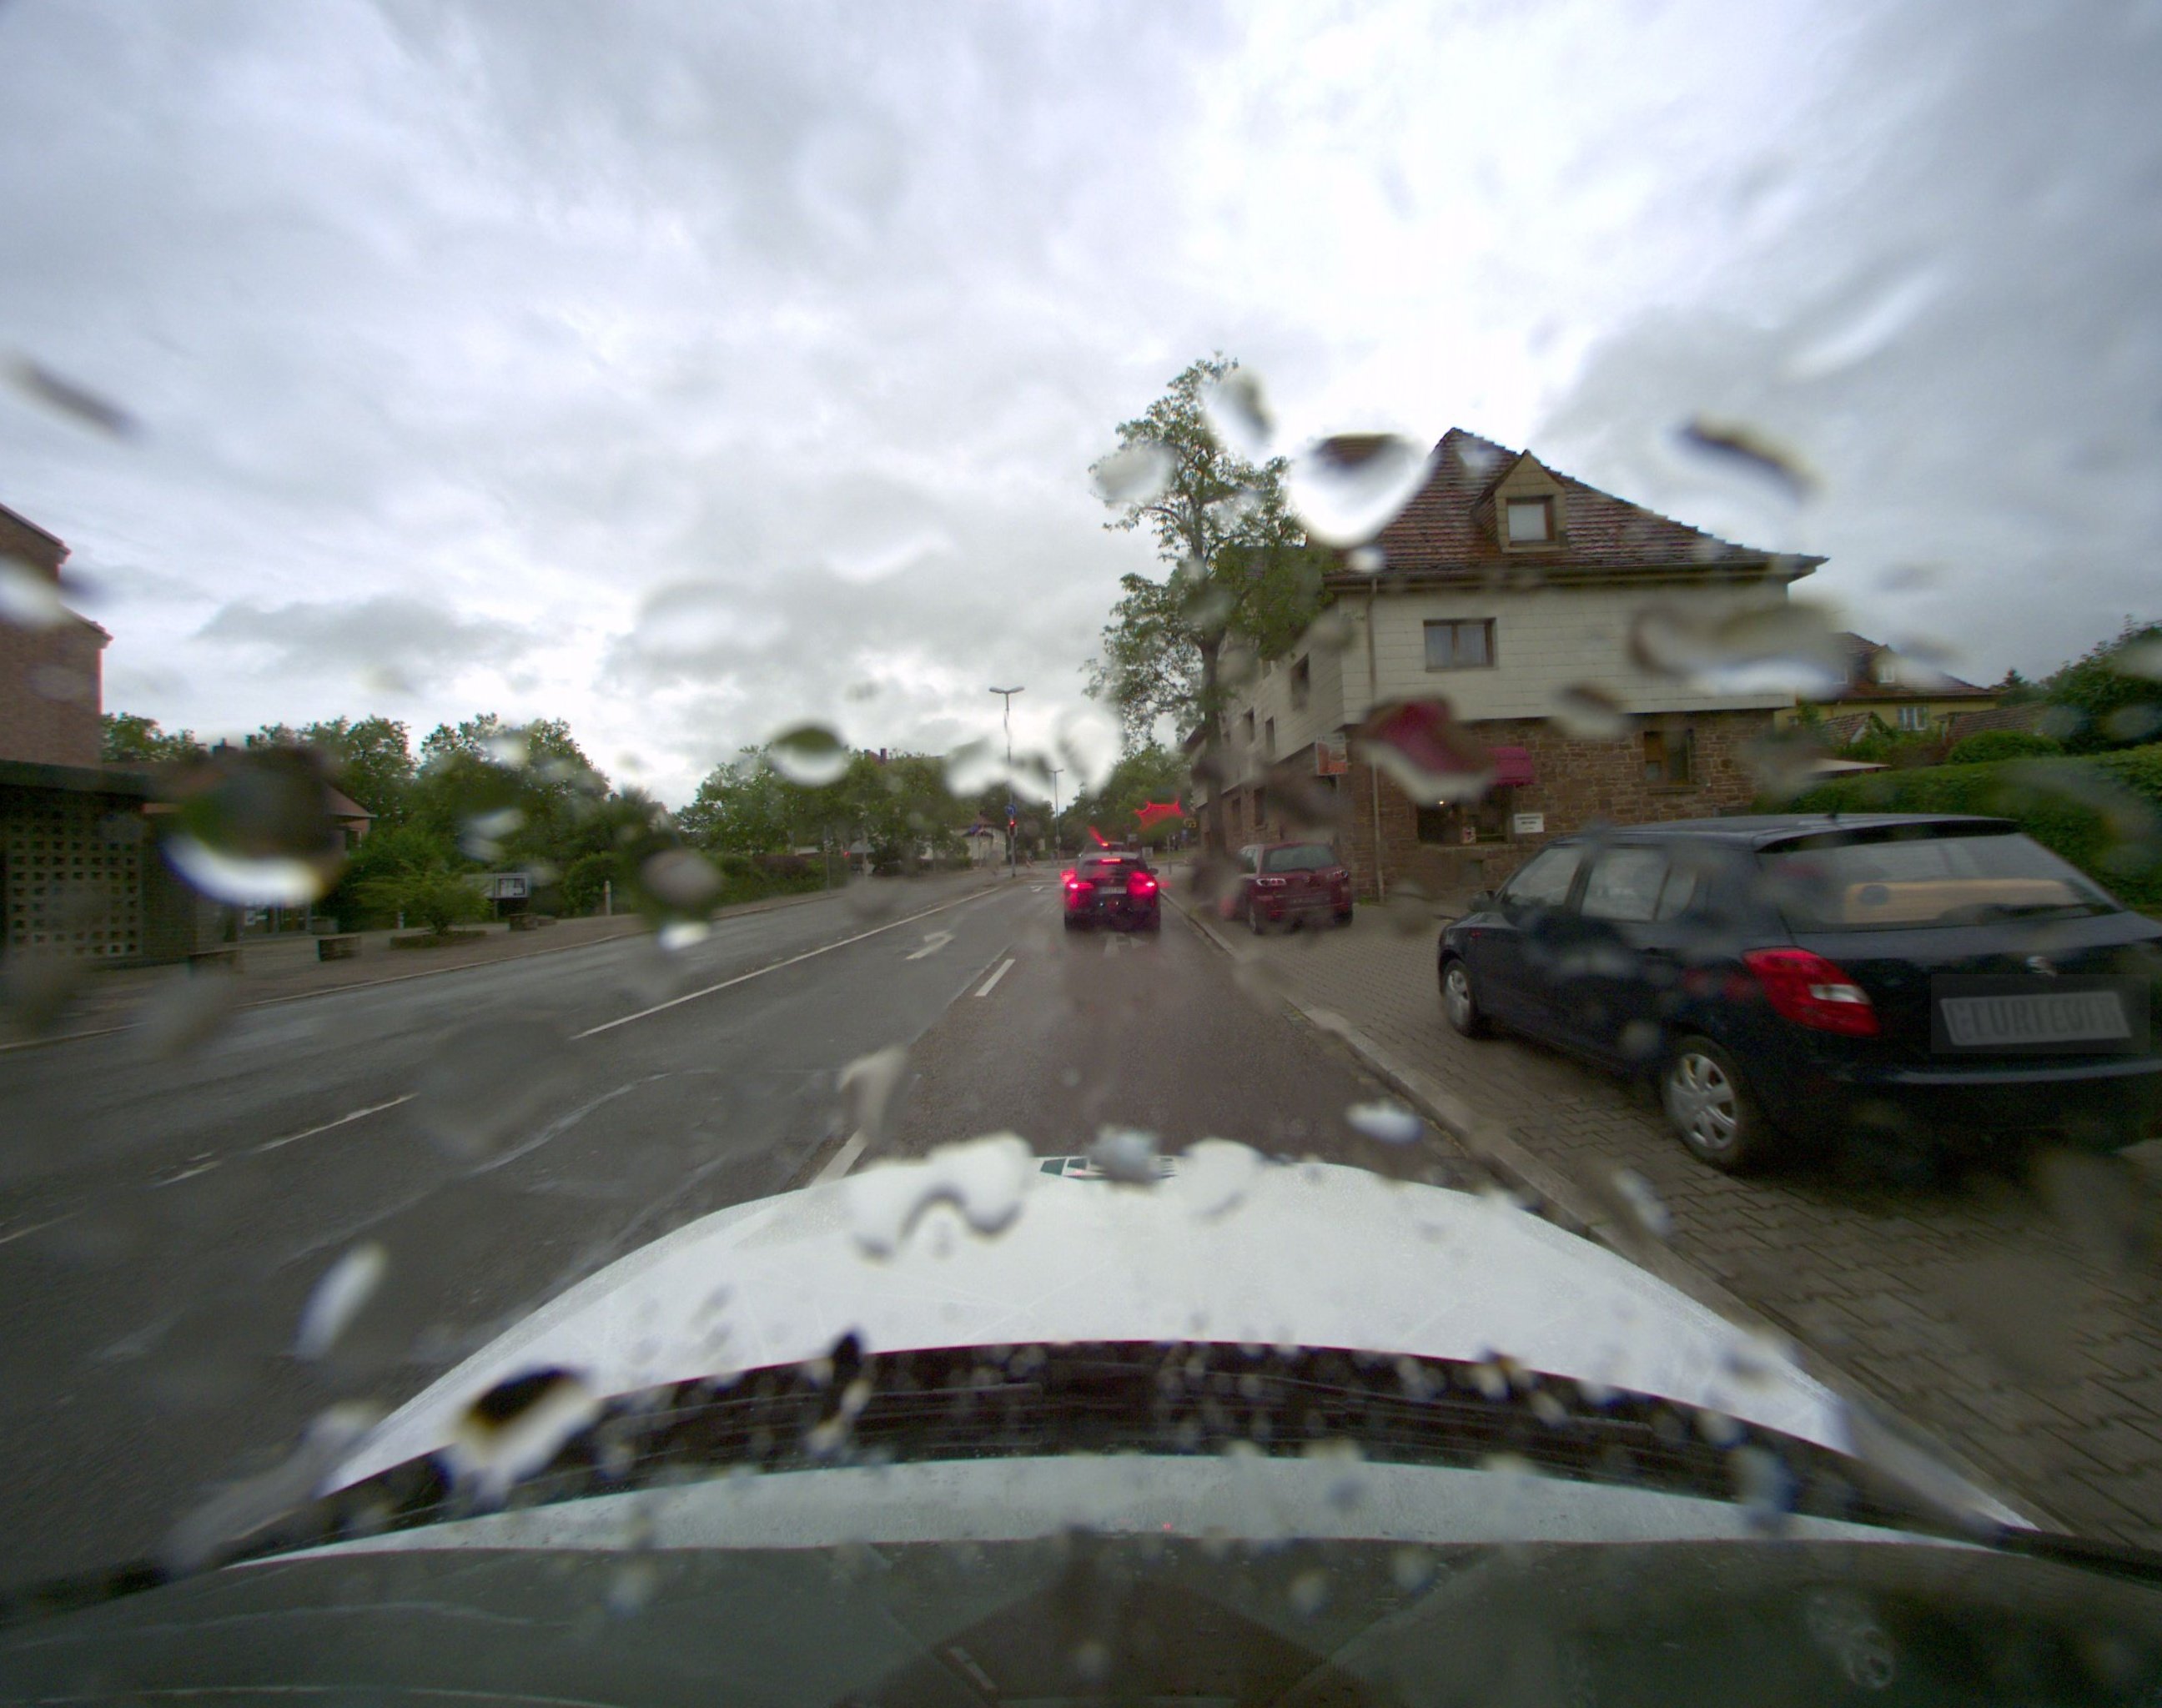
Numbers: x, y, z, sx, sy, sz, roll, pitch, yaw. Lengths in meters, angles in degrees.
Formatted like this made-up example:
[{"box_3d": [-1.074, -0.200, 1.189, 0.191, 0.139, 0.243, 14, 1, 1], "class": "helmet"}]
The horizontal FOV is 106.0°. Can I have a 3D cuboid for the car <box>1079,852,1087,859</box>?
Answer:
[{"box_3d": [0.432, 0.368, 179.317, 1.459, 1.398, 3.322, -2, 0, 1], "class": "car"}]

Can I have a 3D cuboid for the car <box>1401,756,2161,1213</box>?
[{"box_3d": [3.400, 0.428, 4.743, 1.598, 1.472, 3.859, -5, 0, 3], "class": "car"}]

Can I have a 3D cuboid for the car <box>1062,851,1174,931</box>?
[{"box_3d": [0.684, 0.690, 17.374, 2.058, 1.446, 4.482, -1, 0, 0], "class": "car"}]

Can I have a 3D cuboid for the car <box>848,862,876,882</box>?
[{"box_3d": [-18.937, 1.533, 70.299, 2.000, 1.552, 3.974, -2, 0, -19], "class": "car"}]

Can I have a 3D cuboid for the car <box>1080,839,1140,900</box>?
[{"box_3d": [0.903, 0.467, 26.940, 1.778, 1.817, 4.000, -2, 0, 0], "class": "car"}]

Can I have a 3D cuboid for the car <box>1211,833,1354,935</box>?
[{"box_3d": [3.494, 0.458, 14.766, 1.579, 1.490, 3.627, -5, 1, 0], "class": "car"}]
